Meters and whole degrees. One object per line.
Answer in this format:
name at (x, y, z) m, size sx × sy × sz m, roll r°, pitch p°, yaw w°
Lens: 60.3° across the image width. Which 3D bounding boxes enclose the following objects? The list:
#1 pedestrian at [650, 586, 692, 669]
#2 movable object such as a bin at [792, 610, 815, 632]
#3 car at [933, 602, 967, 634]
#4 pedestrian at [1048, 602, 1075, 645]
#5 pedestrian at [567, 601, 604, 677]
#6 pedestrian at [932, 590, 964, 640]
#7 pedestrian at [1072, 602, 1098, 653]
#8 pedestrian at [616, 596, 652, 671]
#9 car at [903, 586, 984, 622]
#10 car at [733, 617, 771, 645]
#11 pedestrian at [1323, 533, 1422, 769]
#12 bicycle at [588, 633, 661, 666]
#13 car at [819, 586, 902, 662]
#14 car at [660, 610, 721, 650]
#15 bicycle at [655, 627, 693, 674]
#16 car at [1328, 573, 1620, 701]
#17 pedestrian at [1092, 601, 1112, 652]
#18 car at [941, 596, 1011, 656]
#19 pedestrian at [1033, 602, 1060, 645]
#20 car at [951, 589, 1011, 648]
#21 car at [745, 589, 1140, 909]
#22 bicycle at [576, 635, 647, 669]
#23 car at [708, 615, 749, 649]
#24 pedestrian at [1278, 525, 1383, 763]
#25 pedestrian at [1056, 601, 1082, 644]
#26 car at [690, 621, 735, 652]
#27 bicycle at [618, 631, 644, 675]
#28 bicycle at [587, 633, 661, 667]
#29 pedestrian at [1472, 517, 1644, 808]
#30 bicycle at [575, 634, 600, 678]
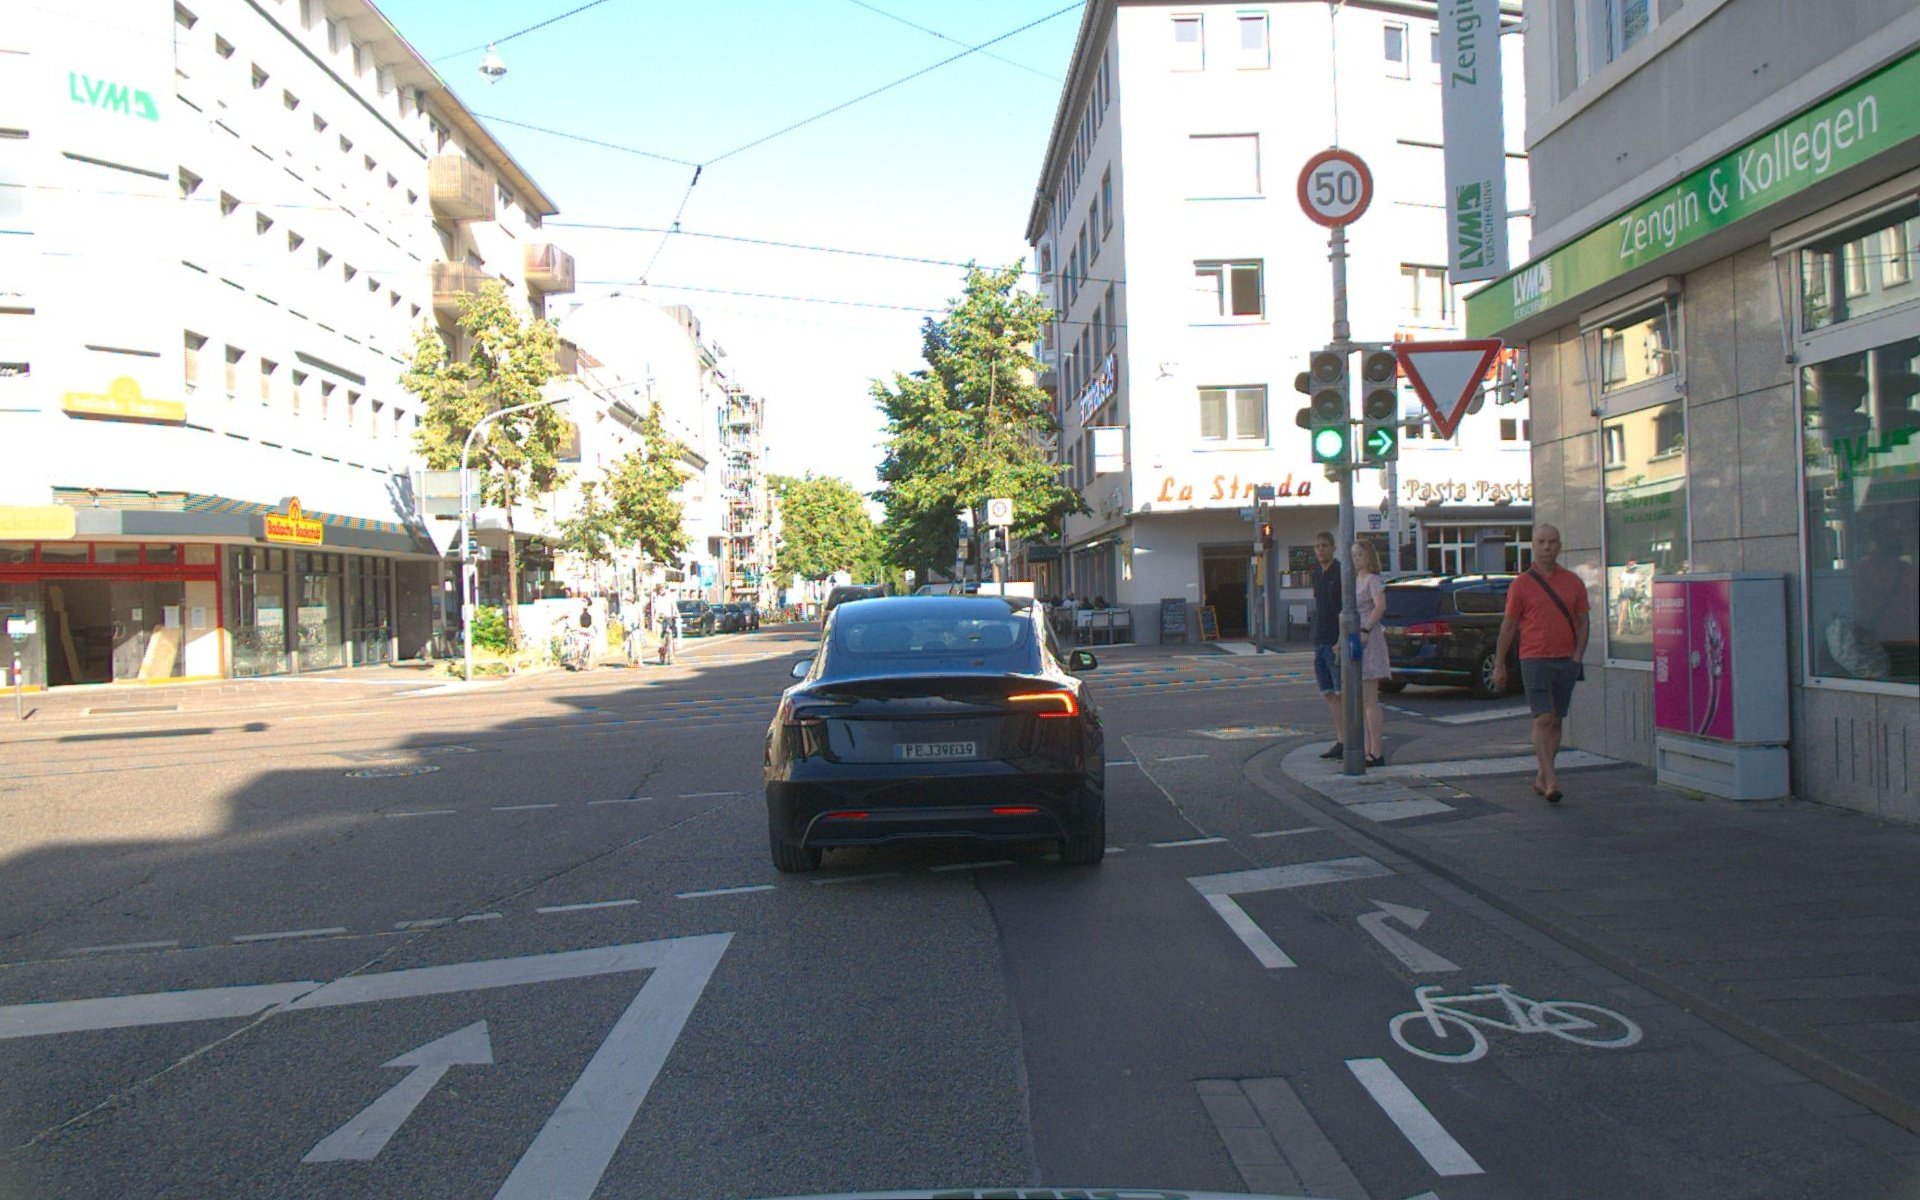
pedestrian at (-6.939, 0.650, 39.683) m, size 0.765 × 1.898 × 0.997 m, roll -4°, pitch 0°, yaw -16°
movable object such as a bin at (-10.502, 1.393, 111.005) m, size 1.289 × 1.432 × 1.065 m, roll -2°, pitch 0°, yaw -19°
car at (-0.616, 1.074, 99.841) m, size 1.953 × 1.856 × 3.999 m, roll -1°, pitch 0°, yaw -1°
pedestrian at (3.289, 0.760, 53.769) m, size 0.716 × 1.371 × 1.059 m, roll -2°, pitch -1°, yaw -4°
pedestrian at (-8.710, 0.899, 38.421) m, size 0.778 × 1.742 × 0.651 m, roll -1°, pitch 0°, yaw -16°
pedestrian at (-0.470, 0.591, 66.321) m, size 0.937 × 1.949 × 1.106 m, roll -3°, pitch -1°, yaw 15°
pedestrian at (3.343, 0.731, 44.273) m, size 0.574 × 1.336 × 0.560 m, roll -2°, pitch -1°, yaw -1°
pedestrian at (-7.788, 0.805, 39.537) m, size 0.765 × 1.758 × 0.557 m, roll -1°, pitch 0°, yaw -16°
car at (-1.139, 0.245, 111.574) m, size 5.284 × 2.183 × 1.999 m, roll -3°, pitch 0°, yaw -3°
car at (-11.340, 1.661, 90.401) m, size 1.750 × 1.427 × 3.903 m, roll -2°, pitch 0°, yaw -3°
pedestrian at (3.227, 0.391, 12.984) m, size 0.561 × 1.790 × 0.649 m, roll -1°, pitch 0°, yaw -2°
bicycle at (-11.317, 1.660, 55.832) m, size 2.355 × 1.023 × 0.654 m, roll -2°, pitch 0°, yaw -13°
car at (-2.459, 0.593, 41.878) m, size 1.865 × 1.763 × 4.287 m, roll -2°, pitch 0°, yaw -1°
car at (-11.817, 1.297, 72.728) m, size 1.953 × 1.626 × 4.000 m, roll -1°, pitch 0°, yaw 0°
bicycle at (-6.850, 1.199, 39.603) m, size 0.745 × 1.025 × 1.719 m, roll -5°, pitch 0°, yaw -13°
car at (6.571, 0.412, 20.869) m, size 1.738 × 1.443 × 4.324 m, roll -2°, pitch -1°, yaw 44°
pedestrian at (3.868, 0.714, 45.067) m, size 0.477 × 1.345 × 0.654 m, roll -2°, pitch -1°, yaw 6°
car at (0.432, 0.761, 49.875) m, size 1.960 × 1.665 × 4.287 m, roll -2°, pitch 0°, yaw -1°
pedestrian at (2.870, 0.778, 54.868) m, size 0.695 × 1.371 × 1.059 m, roll -2°, pitch -1°, yaw -5°
car at (0.685, 0.614, 56.311) m, size 1.865 × 1.884 × 4.287 m, roll -2°, pitch 0°, yaw -1°
car at (-0.092, 0.695, 10.058) m, size 1.831 × 1.452 × 4.364 m, roll -2°, pitch 0°, yaw 0°
bicycle at (-11.153, 1.666, 52.951) m, size 2.182 × 0.975 × 0.653 m, roll -2°, pitch 0°, yaw -14°
car at (-11.963, 1.649, 85.533) m, size 1.684 × 1.638 × 3.596 m, roll -2°, pitch 0°, yaw -2°
pedestrian at (3.016, 0.348, 13.522) m, size 0.627 × 1.874 × 0.681 m, roll -2°, pitch 0°, yaw -2°
pedestrian at (3.633, 0.746, 55.048) m, size 0.716 × 1.384 × 0.958 m, roll -2°, pitch -1°, yaw -2°
car at (-12.015, 1.751, 80.450) m, size 1.750 × 1.427 × 3.903 m, roll -2°, pitch 0°, yaw -3°
bicycle at (-7.870, 1.251, 39.544) m, size 0.543 × 0.985 × 1.789 m, roll -2°, pitch 0°, yaw -13°
bicycle at (-11.163, 1.653, 55.002) m, size 2.347 × 0.995 × 0.654 m, roll -2°, pitch 0°, yaw -12°
pedestrian at (3.773, 0.378, 10.497) m, size 0.676 × 1.732 × 0.912 m, roll -3°, pitch 0°, yaw 0°
bicycle at (-8.741, 1.307, 38.769) m, size 0.472 × 0.972 × 1.449 m, roll -2°, pitch 0°, yaw -15°
